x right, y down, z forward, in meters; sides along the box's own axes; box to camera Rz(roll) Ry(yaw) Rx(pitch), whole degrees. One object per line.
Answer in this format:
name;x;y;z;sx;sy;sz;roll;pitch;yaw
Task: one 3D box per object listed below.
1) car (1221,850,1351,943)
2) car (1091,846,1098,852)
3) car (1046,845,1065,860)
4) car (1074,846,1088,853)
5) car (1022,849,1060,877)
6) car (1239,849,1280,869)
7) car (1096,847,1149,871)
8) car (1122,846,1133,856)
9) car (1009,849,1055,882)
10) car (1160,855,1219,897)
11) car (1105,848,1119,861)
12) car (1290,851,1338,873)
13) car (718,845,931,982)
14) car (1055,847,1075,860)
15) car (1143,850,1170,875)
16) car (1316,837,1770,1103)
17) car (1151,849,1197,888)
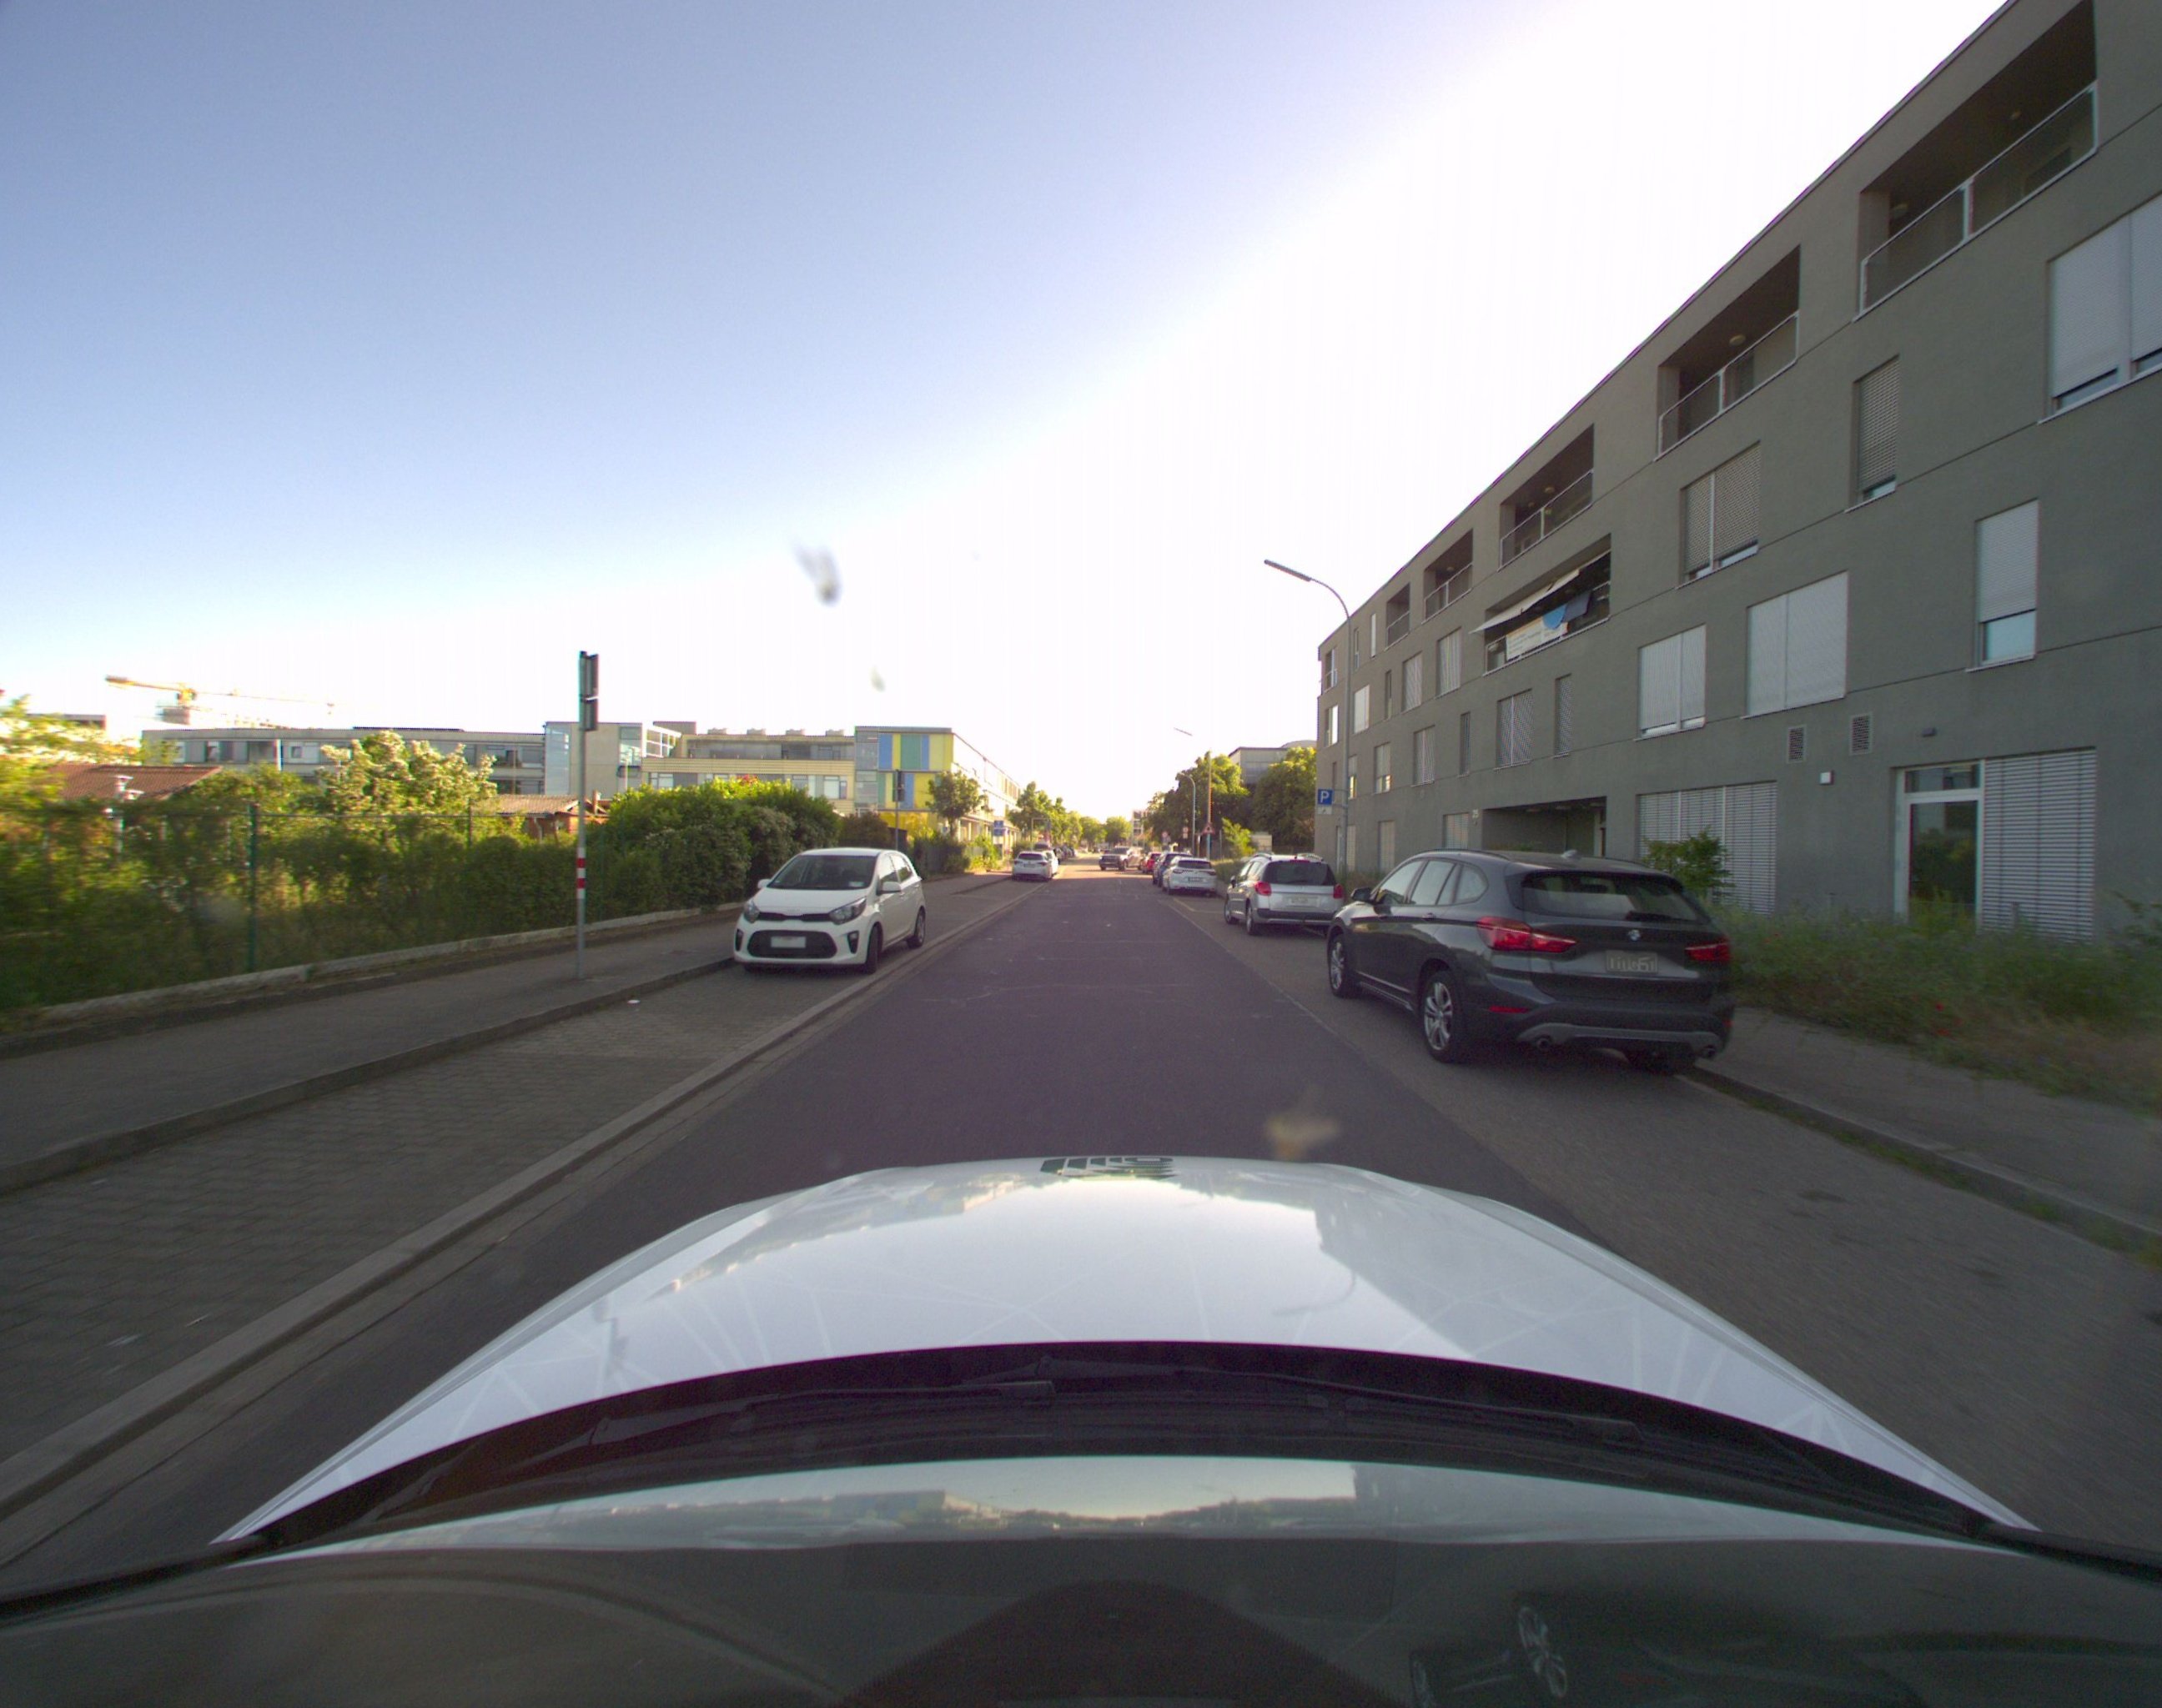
car;3.939;0.742;16.258;1.651;1.551;3.851;3;0;1
car;3.447;-1.236;202.469;1.658;1.549;3.902;3;0;0
car;-2.843;-0.144;91.487;1.848;1.563;4.135;3;0;1
car;0.039;-1.228;214.834;3.595;1.549;1.448;3;0;-4
car;-2.249;0.481;47.162;1.848;1.428;4.135;3;0;1
car;15.254;0.421;69.819;3.202;1.549;1.451;3;0;4
car;3.047;0.378;59.052;1.826;1.546;4.220;3;0;35
car;7.256;-0.488;127.245;1.440;1.549;3.614;3;0;1
car;-2.357;0.528;40.124;1.848;1.428;4.135;3;0;1
car;4.097;0.785;31.206;1.735;1.428;4.135;3;0;1
car;4.068;0.045;106.534;1.684;1.549;3.614;3;0;0
car;17.627;0.604;61.709;3.202;1.460;1.451;3;0;4
car;-3.175;0.645;10.869;1.554;1.495;3.759;1;0;1
car;-1.965;-0.066;99.807;1.845;1.563;4.141;3;0;6
car;4.933;0.523;53.623;1.440;1.549;3.614;3;0;1
car;3.568;0.736;7.322;1.735;1.625;4.180;3;0;1
car;4.198;0.618;37.216;1.627;1.630;3.614;3;0;0
